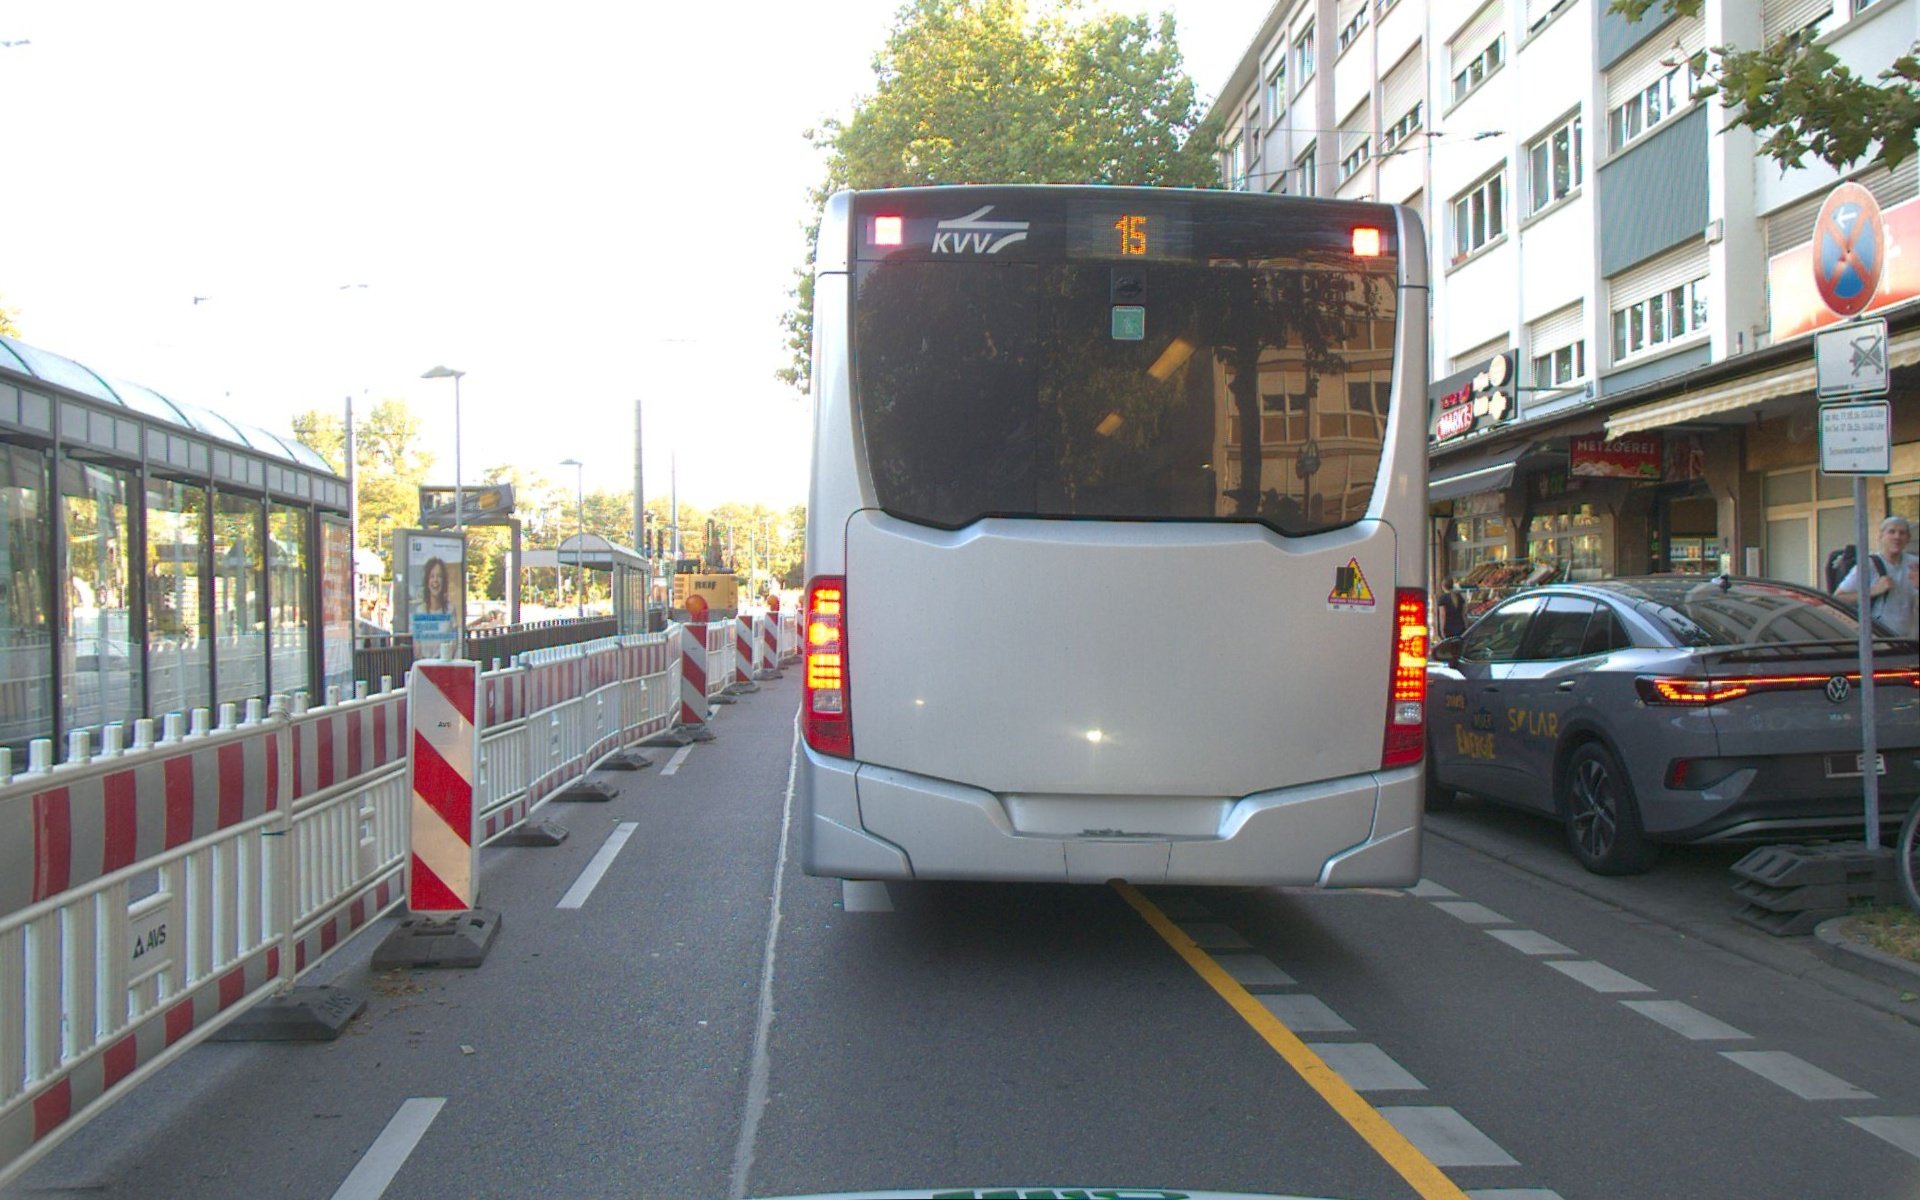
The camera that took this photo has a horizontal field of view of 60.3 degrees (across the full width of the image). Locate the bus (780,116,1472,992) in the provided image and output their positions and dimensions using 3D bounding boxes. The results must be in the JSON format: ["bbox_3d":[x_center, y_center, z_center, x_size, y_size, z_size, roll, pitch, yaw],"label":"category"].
[{"bbox_3d":[0.577,-0.184,11.257,2.555,3.225,10.290,0,0,-1],"label":"bus"}]

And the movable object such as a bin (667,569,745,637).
[{"bbox_3d":[-9.702,0.094,63.519,2.752,2.505,3.995,-1,0,-6],"label":"movable object such as a bin"}]

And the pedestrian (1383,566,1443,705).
[{"bbox_3d":[6.795,0.530,24.825,0.677,2.049,0.696,-1,0,-2],"label":"pedestrian"}]

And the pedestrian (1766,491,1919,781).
[{"bbox_3d":[6.424,0.237,11.559,1.001,1.923,1.122,-1,0,-1],"label":"pedestrian"}]

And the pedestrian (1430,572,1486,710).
[{"bbox_3d":[7.551,0.610,25.100,0.600,2.049,0.696,-1,0,-3],"label":"pedestrian"}]

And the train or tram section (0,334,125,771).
[{"bbox_3d":[-8.859,-0.387,10.808,2.763,3.548,10.321,0,0,-7],"label":"train or tram section"}]

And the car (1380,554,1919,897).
[{"bbox_3d":[4.231,0.606,10.356,1.706,1.625,4.294,-3,0,-5],"label":"car"}]

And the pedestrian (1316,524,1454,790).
[{"bbox_3d":[3.414,0.441,13.277,0.759,2.049,0.709,-2,-1,44],"label":"pedestrian"}]
